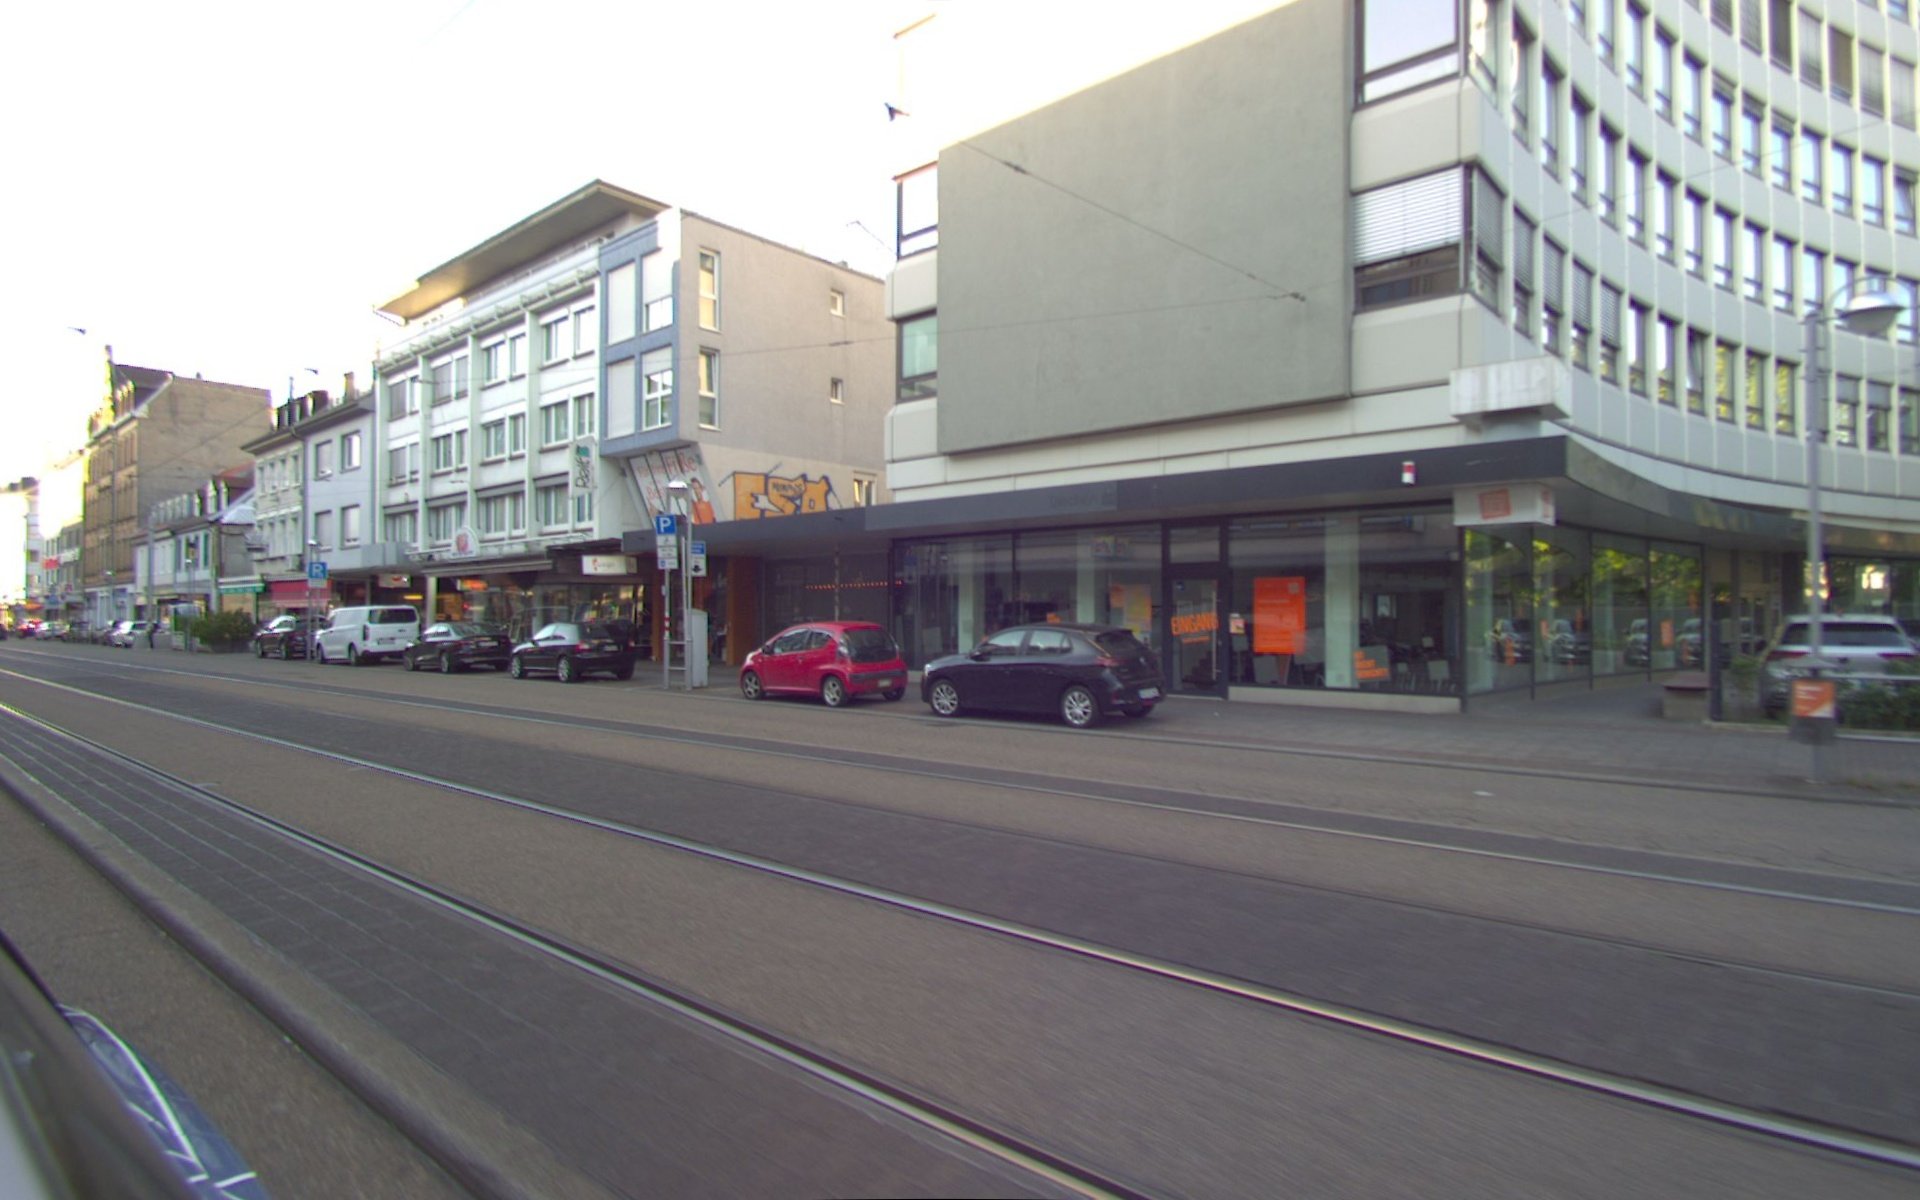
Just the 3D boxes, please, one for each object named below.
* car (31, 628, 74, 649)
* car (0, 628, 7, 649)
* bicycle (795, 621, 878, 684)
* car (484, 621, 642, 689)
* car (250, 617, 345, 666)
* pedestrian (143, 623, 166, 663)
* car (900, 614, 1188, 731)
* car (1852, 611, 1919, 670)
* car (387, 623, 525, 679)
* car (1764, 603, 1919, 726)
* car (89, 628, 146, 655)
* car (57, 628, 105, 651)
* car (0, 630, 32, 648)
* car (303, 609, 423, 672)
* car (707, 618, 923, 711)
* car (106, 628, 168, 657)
[{"bbox_3d":[-70.867,3.005,79.003,4.204,1.564,1.973,-2,-2,41],"label":"car"},{"bbox_3d":[-74.722,2.944,77.606,3.998,1.564,1.973,-1,-3,41],"label":"car"},{"bbox_3d":[-2.946,1.235,24.287,0.833,1.436,1.948,-2,-2,39],"label":"bicycle"},{"bbox_3d":[-9.922,1.310,25.137,4.440,1.523,1.669,-2,-1,39],"label":"car"},{"bbox_3d":[-25.706,1.577,39.224,4.524,1.734,1.839,-2,0,40],"label":"car"},{"bbox_3d":[-41.552,2.191,52.201,0.811,2.029,0.714,1,-2,-34],"label":"pedestrian"},{"bbox_3d":[1.175,1.016,15.435,4.213,1.523,1.668,-2,-1,42],"label":"car"},{"bbox_3d":[25.760,1.043,26.756,3.930,1.497,1.765,0,-2,-24],"label":"car"},{"bbox_3d":[-14.779,1.447,29.576,4.555,1.477,1.973,-2,-1,40],"label":"car"},{"bbox_3d":[12.428,0.812,13.908,1.846,1.478,3.943,-2,-2,43],"label":"car"},{"bbox_3d":[-50.630,2.463,60.795,4.550,1.556,1.889,-2,-2,41],"label":"car"},{"bbox_3d":[-61.727,2.744,71.053,3.998,1.564,1.973,-2,-2,41],"label":"car"},{"bbox_3d":[-87.064,3.552,93.130,3.998,1.564,1.973,-2,-2,41],"label":"car"},{"bbox_3d":[-20.408,1.368,34.511,5.159,1.992,1.935,-2,-2,40],"label":"car"},{"bbox_3d":[-2.791,1.134,18.925,4.213,1.523,1.668,-2,-1,42],"label":"car"},{"bbox_3d":[-46.521,2.382,57.181,4.877,1.556,1.972,-2,-1,42],"label":"car"}]
